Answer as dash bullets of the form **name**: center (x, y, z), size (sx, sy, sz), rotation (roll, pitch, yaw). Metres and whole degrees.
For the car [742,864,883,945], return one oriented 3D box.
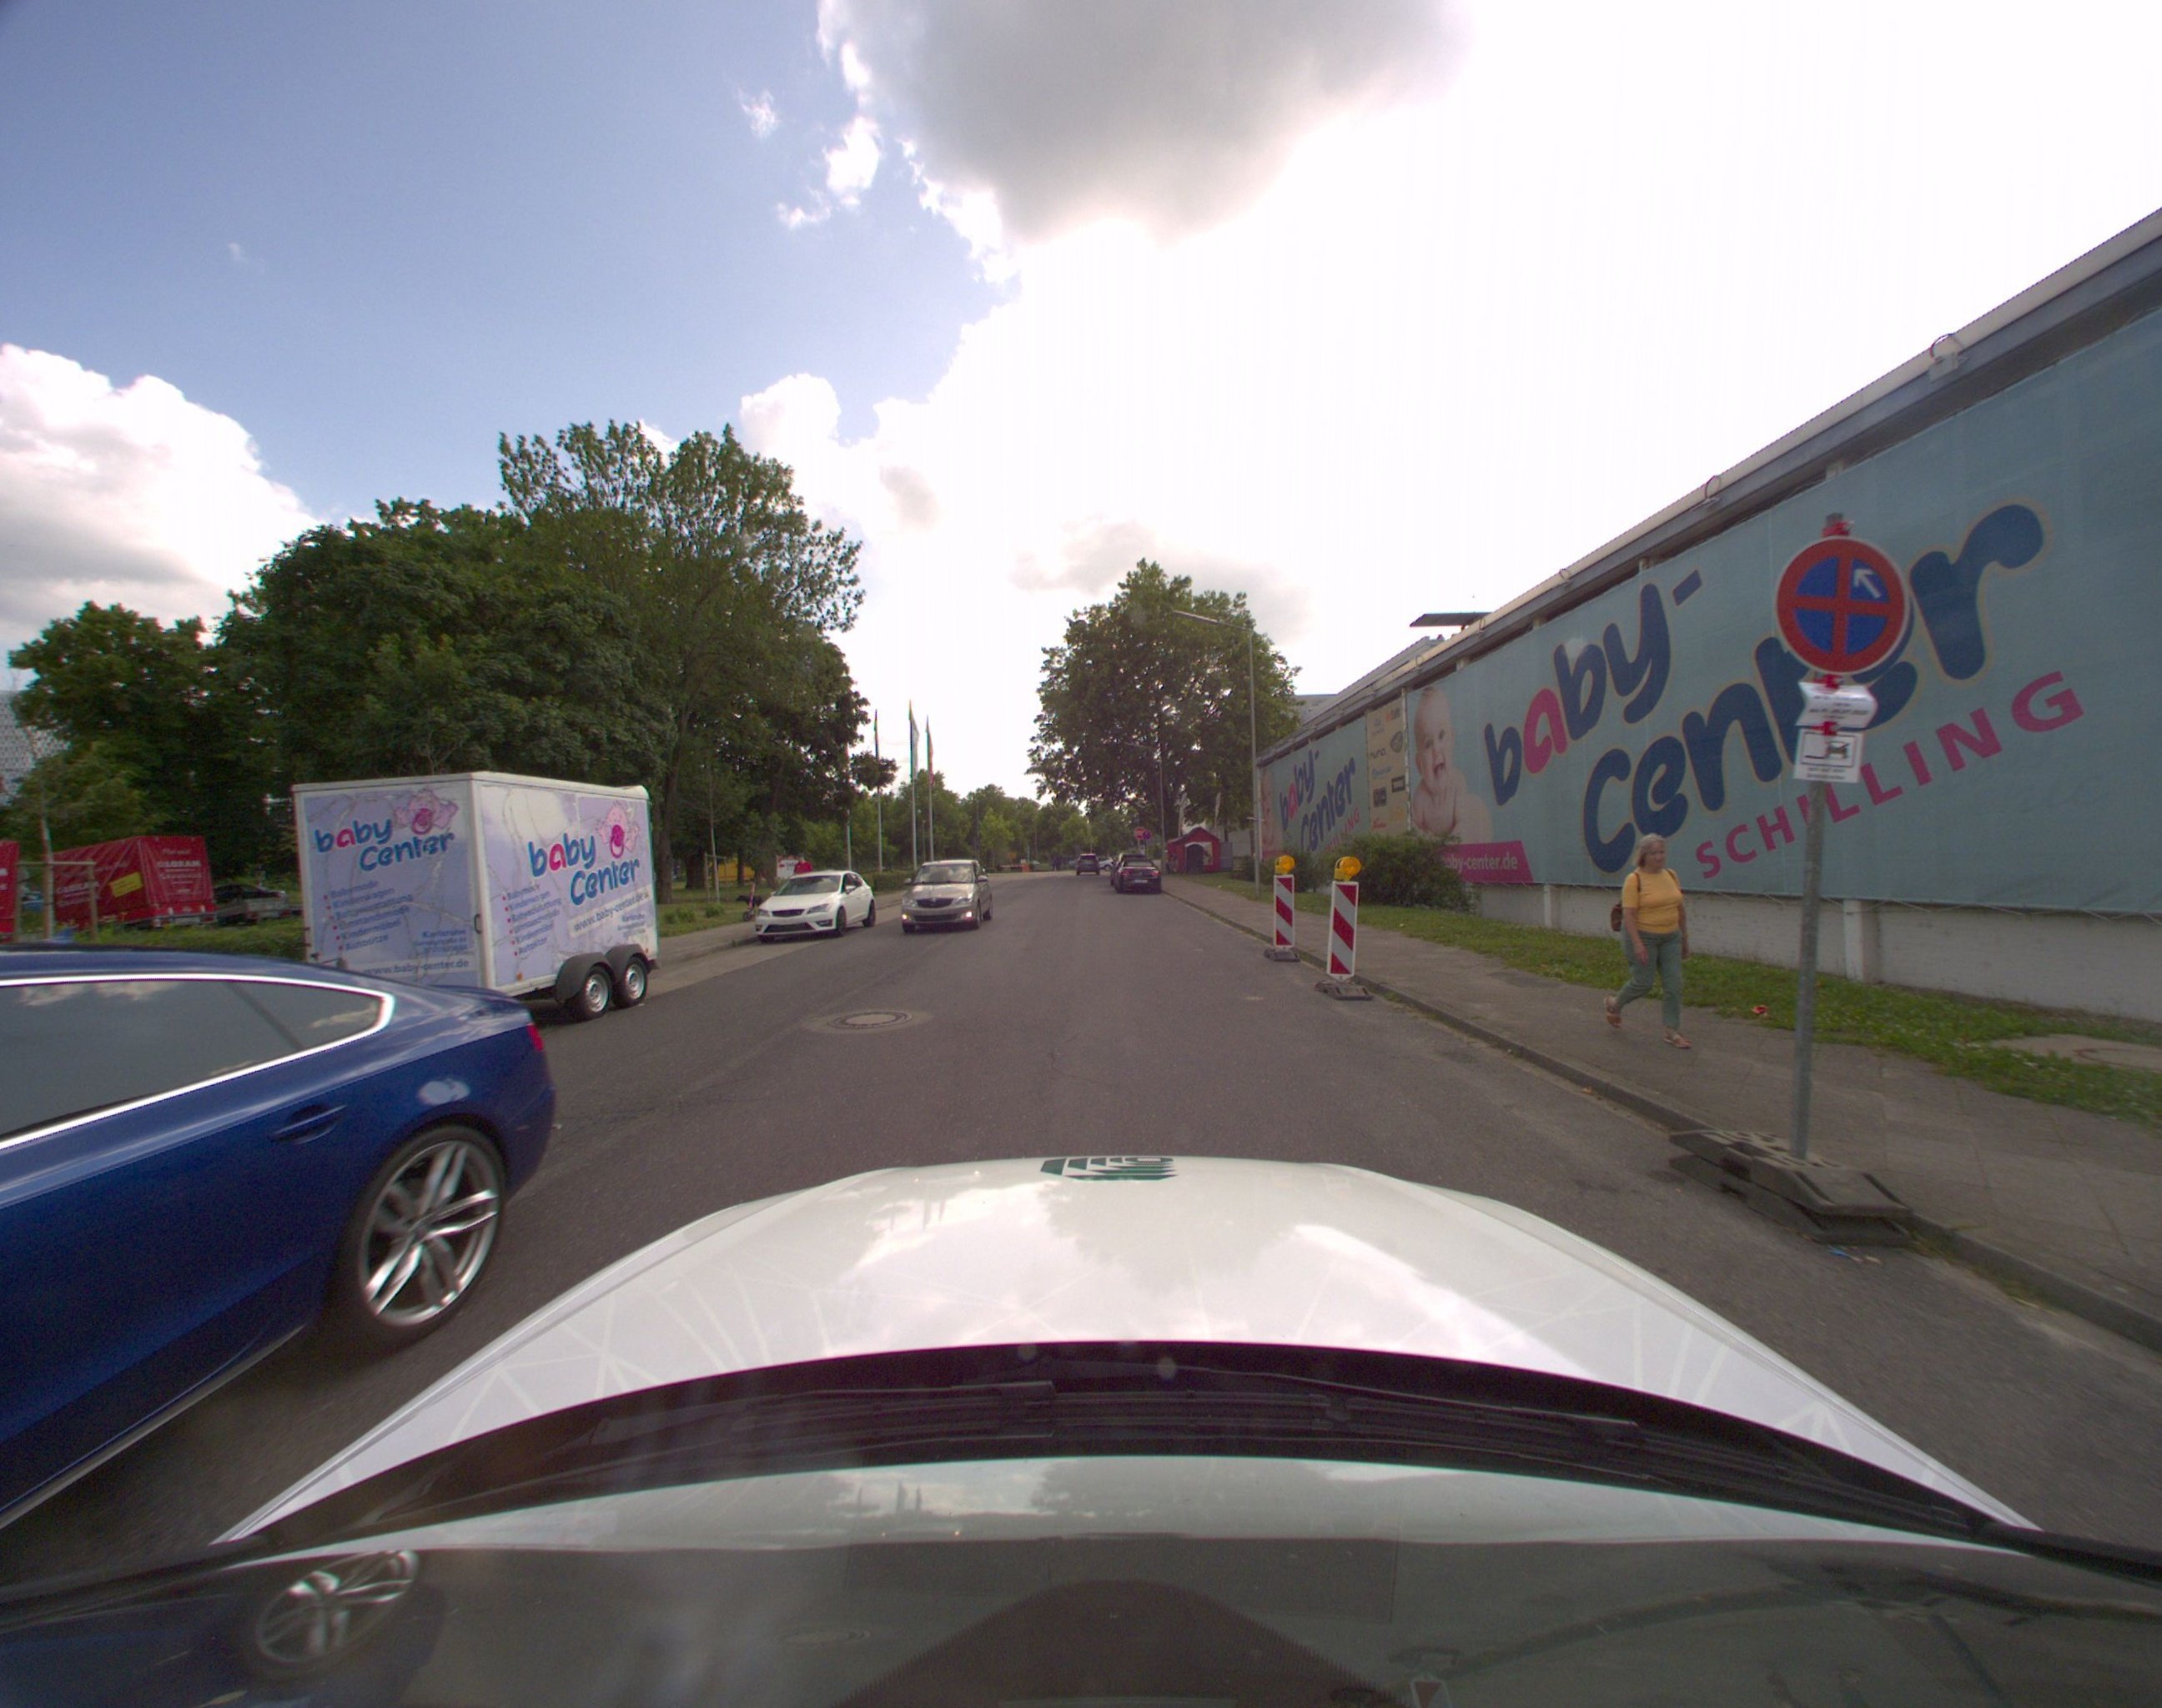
- **car**: center (-5.989, 1.049, 18.711), size (1.760, 1.479, 4.233), rotation (-4, 0, -1)

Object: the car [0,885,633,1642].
- **car**: center (-3.058, 0.858, 1.524), size (1.916, 1.377, 4.380), rotation (-2, 0, 1)

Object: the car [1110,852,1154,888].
- **car**: center (2.479, 0.771, 40.423), size (1.803, 1.665, 4.638), rotation (1, 0, -1)

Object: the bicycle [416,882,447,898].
- **bicycle**: center (-52.711, 2.927, 66.080), size (1.806, 1.166, 0.729), rotation (-3, 1, -5)

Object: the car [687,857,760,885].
- **car**: center (-36.651, 1.729, 83.599), size (6.366, 2.578, 2.204), rotation (-2, 0, -2)

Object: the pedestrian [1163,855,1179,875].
- **pedestrian**: center (6.091, 0.745, 55.153), size (1.008, 1.314, 0.967), rotation (-2, -1, 8)

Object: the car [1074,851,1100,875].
- **car**: center (0.456, 0.689, 66.227), size (1.957, 1.815, 4.272), rotation (-2, 0, -2)

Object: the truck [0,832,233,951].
- **truck**: center (-23.915, 0.907, 19.396), size (5.529, 2.594, 1.779), rotation (-2, -2, 0)

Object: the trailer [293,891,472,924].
- **trailer**: center (-23.527, 1.787, 27.569), size (4.223, 0.913, 2.021), rotation (-2, -2, -2)

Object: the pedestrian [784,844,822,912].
- **pedestrian**: center (-8.561, 0.729, 25.108), size (0.807, 2.014, 0.885), rotation (-2, -1, 0)

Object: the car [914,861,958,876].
- **car**: center (-15.100, 1.485, 84.827), size (4.209, 1.406, 1.922), rotation (-2, 0, -2)

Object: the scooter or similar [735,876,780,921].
- **scooter or similar**: center (-9.004, 1.225, 22.712), size (0.514, 1.193, 1.284), rotation (-1, -1, 11)

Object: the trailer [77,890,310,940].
- **trailer**: center (-23.596, 1.605, 21.772), size (4.223, 1.121, 1.670), rotation (-2, -2, -2)

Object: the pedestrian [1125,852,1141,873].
- **pedestrian**: center (4.647, 0.747, 72.861), size (1.003, 1.849, 1.222), rotation (-1, -1, -18)

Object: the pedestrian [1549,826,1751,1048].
- **pedestrian**: center (4.329, 0.583, 6.293), size (0.680, 1.534, 1.128), rotation (-1, -1, -5)

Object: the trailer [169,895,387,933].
- **trailer**: center (-23.697, 1.750, 24.183), size (4.223, 0.913, 2.157), rotation (-2, -2, -2)

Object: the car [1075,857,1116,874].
- **car**: center (1.525, 1.176, 85.680), size (4.209, 1.579, 1.922), rotation (-2, 0, -2)

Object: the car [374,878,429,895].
- **car**: center (-74.663, 3.562, 89.503), size (1.974, 1.684, 4.289), rotation (-2, -1, 37)

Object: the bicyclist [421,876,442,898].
- **bicyclist**: center (-52.725, 2.681, 66.070), size (1.005, 1.647, 0.733), rotation (-3, 1, -5)

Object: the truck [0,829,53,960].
- **truck**: center (-24.439, 0.888, 16.203), size (5.732, 2.594, 1.816), rotation (-2, -2, 2)

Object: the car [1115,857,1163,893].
- **car**: center (2.357, 0.820, 34.066), size (1.801, 1.391, 4.589), rotation (1, 0, 2)

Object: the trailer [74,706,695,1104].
- **trailer**: center (-6.240, 0.375, 8.347), size (2.133, 2.783, 4.702), rotation (-4, 0, 0)

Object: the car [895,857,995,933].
- **car**: center (-2.981, 0.848, 18.543), size (1.586, 1.465, 3.760), rotation (-3, 0, 0)
